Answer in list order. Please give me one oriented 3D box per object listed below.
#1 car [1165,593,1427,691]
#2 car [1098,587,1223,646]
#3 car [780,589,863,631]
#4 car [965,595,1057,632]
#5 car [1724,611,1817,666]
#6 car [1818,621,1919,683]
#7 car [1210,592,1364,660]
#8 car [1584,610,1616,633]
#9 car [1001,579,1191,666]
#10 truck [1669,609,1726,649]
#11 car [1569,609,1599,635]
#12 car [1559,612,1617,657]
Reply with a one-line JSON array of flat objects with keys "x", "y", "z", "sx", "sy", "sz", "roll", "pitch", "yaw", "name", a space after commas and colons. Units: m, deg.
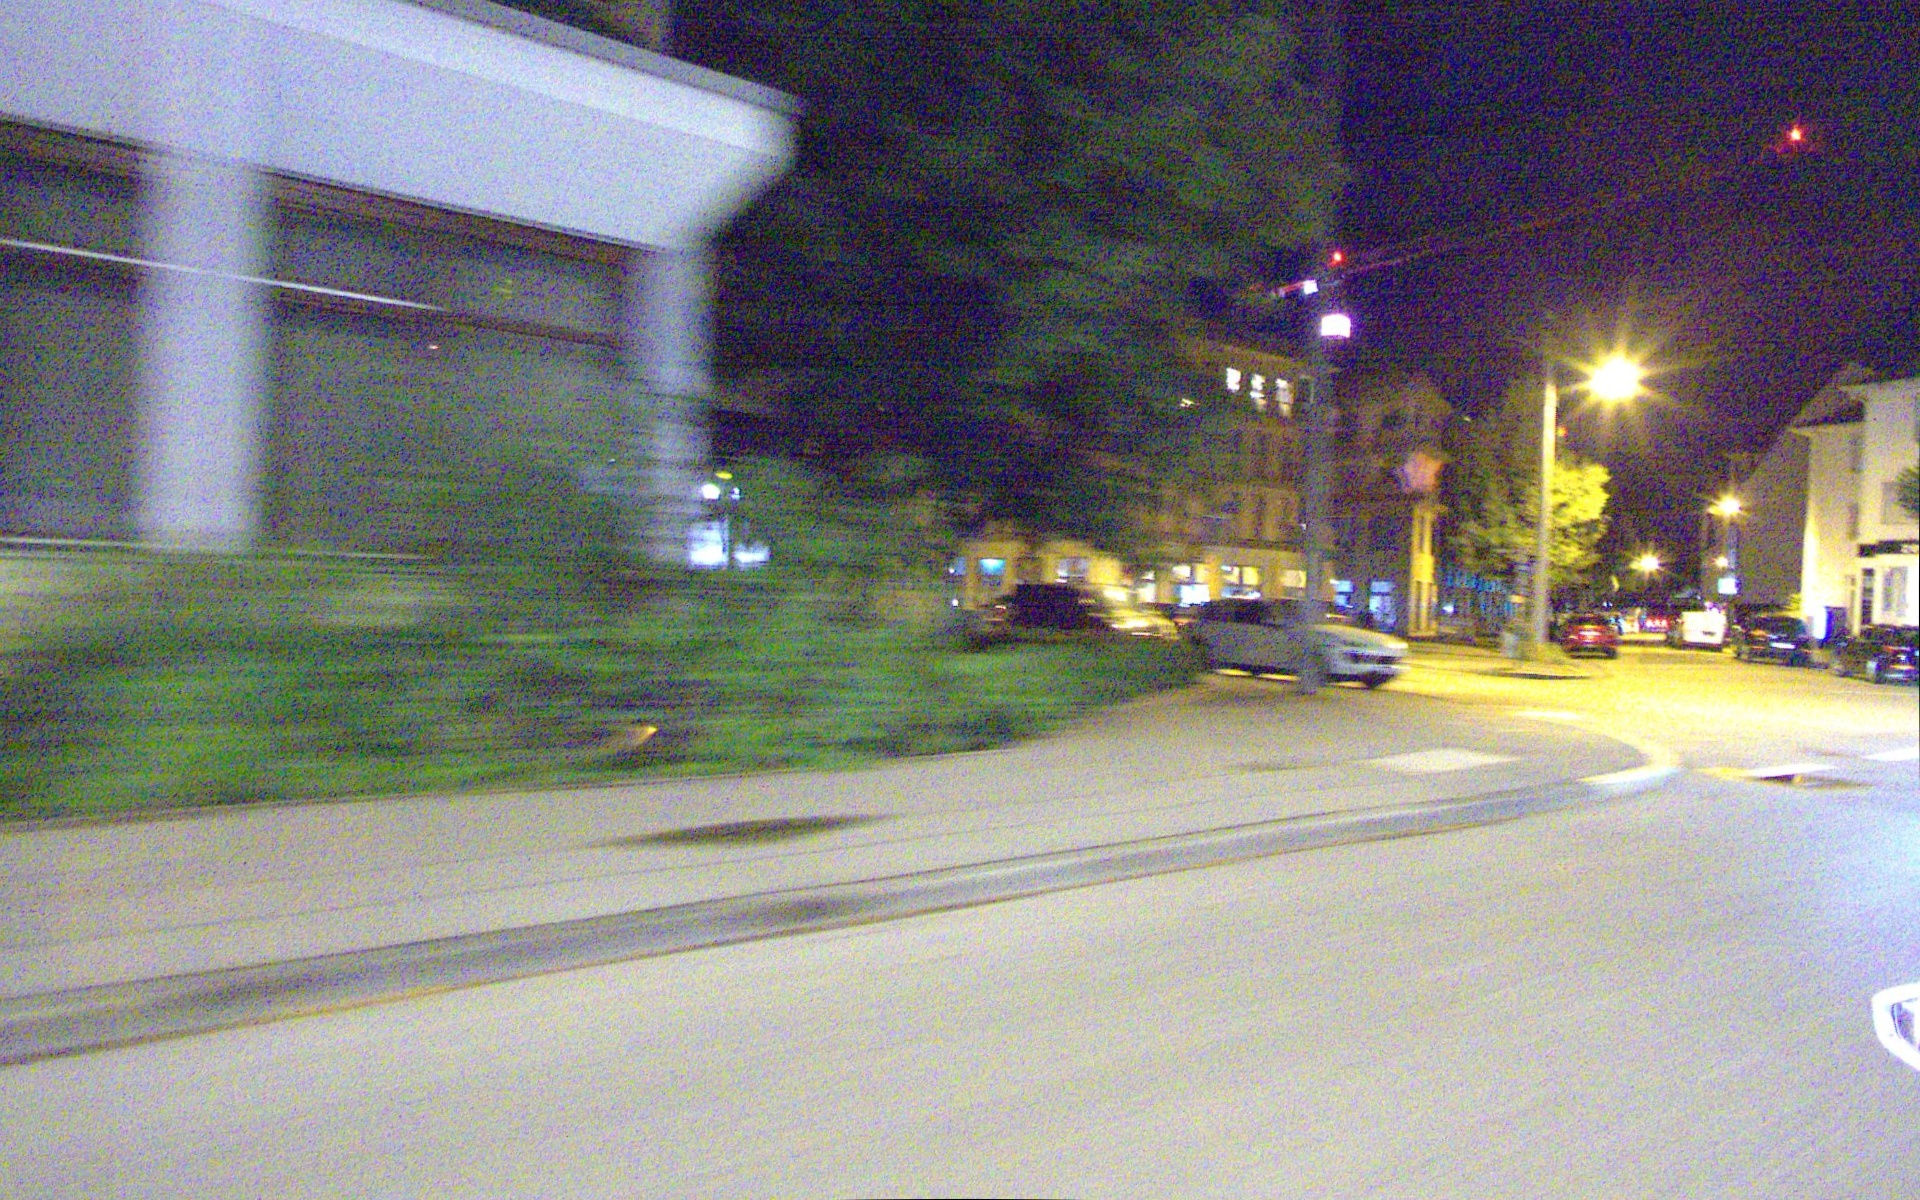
[{"x": 6.366, "y": 0.738, "z": 19.592, "sx": 1.981, "sy": 1.650, "sz": 4.635, "roll": 2, "pitch": -1, "yaw": -31, "name": "car"}, {"x": 7.054, "y": 0.561, "z": 35.772, "sx": 1.938, "sy": 1.777, "sz": 4.321, "roll": 5, "pitch": -1, "yaw": -28, "name": "car"}, {"x": -5.557, "y": 0.361, "z": 40.052, "sx": 1.881, "sy": 1.526, "sz": 3.966, "roll": 0, "pitch": 1, "yaw": -31, "name": "car"}, {"x": 2.153, "y": 0.581, "z": 43.682, "sx": 1.903, "sy": 1.475, "sz": 4.175, "roll": 2, "pitch": -1, "yaw": -33, "name": "car"}, {"x": 28.196, "y": 1.299, "z": 35.065, "sx": 1.886, "sy": 1.666, "sz": 4.102, "roll": 5, "pitch": 2, "yaw": 31, "name": "car"}, {"x": 23.698, "y": 1.277, "z": 25.568, "sx": 1.858, "sy": 1.443, "sz": 4.722, "roll": 1, "pitch": -1, "yaw": 28, "name": "car"}, {"x": 9.976, "y": 0.754, "z": 30.970, "sx": 1.933, "sy": 1.777, "sz": 4.321, "roll": 3, "pitch": 0, "yaw": -28, "name": "car"}, {"x": 51.535, "y": 1.761, "z": 80.811, "sx": 1.873, "sy": 1.758, "sz": 3.986, "roll": 2, "pitch": -1, "yaw": 36, "name": "car"}, {"x": 3.214, "y": 0.462, "z": 24.832, "sx": 2.005, "sy": 1.915, "sz": 4.962, "roll": 1, "pitch": 1, "yaw": -31, "name": "car"}, {"x": 36.127, "y": 1.398, "z": 49.269, "sx": 1.863, "sy": 1.831, "sz": 4.104, "roll": 2, "pitch": -1, "yaw": 32, "name": "truck"}, {"x": 47.005, "y": 1.647, "z": 75.617, "sx": 1.770, "sy": 1.833, "sz": 3.989, "roll": 2, "pitch": 0, "yaw": 33, "name": "car"}, {"x": 24.126, "y": 1.320, "z": 38.700, "sx": 1.810, "sy": 1.634, "sz": 4.251, "roll": 0, "pitch": -1, "yaw": 31, "name": "car"}]
